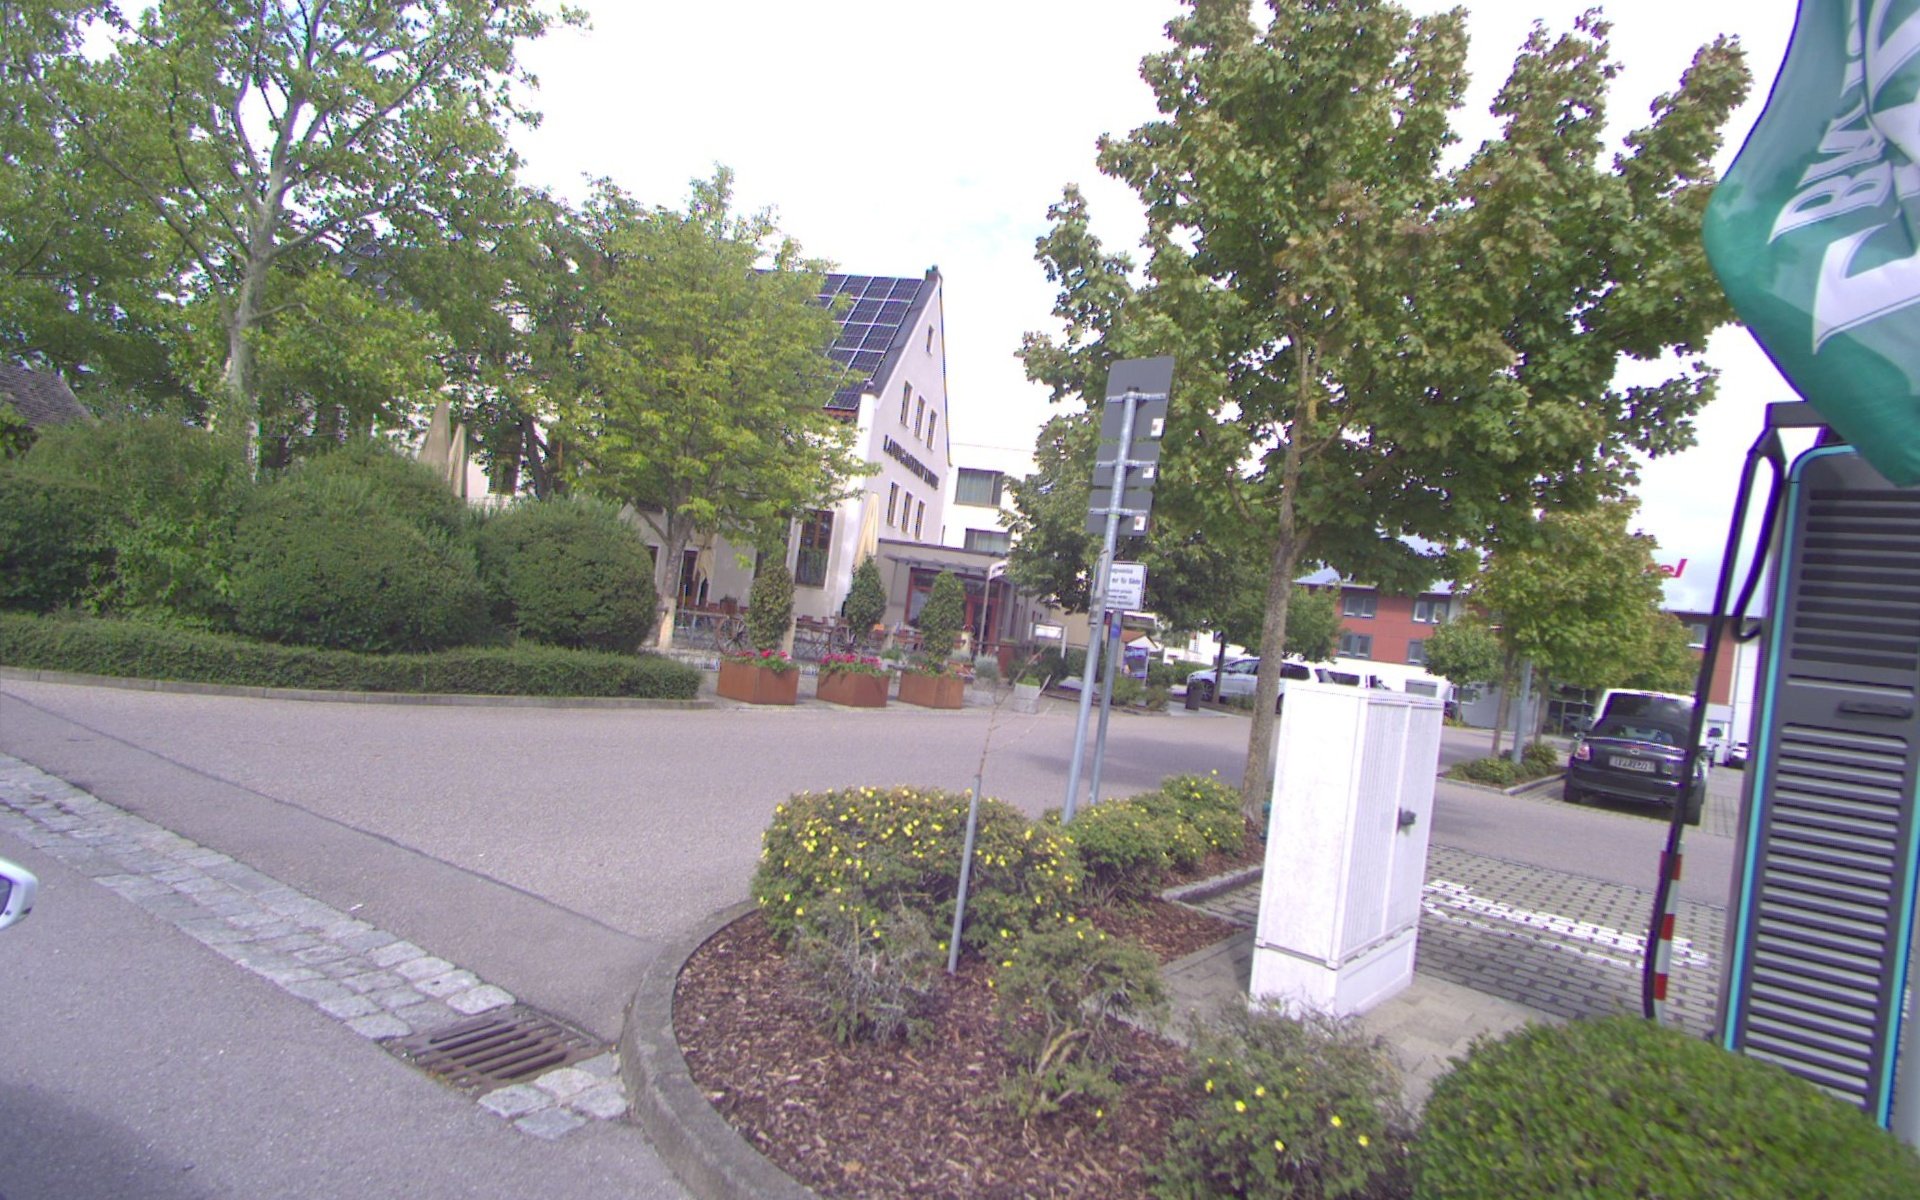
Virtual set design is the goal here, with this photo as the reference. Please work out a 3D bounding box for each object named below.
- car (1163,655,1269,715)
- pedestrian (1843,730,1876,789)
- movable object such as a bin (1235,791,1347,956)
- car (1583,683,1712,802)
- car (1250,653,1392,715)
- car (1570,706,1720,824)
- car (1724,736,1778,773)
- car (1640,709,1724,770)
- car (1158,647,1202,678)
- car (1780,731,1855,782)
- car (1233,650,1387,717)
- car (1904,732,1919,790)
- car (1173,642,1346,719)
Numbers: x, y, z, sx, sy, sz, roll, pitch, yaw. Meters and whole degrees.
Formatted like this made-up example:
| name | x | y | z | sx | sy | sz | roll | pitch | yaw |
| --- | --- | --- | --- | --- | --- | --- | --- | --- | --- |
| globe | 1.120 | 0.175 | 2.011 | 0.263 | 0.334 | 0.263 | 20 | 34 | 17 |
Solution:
| name | x | y | z | sx | sy | sz | roll | pitch | yaw |
| --- | --- | --- | --- | --- | --- | --- | --- | --- | --- |
| car | 11.399 | 3.766 | 44.805 | 3.933 | 2.037 | 1.998 | 7 | -2 | 31 |
| pedestrian | 28.157 | 4.998 | 31.490 | 0.410 | 1.745 | 0.497 | 8 | -1 | -21 |
| movable object such as a bin | 1.620 | 1.319 | 4.925 | 0.363 | 0.692 | 0.287 | 7 | -1 | 41 |
| car | 13.602 | 2.769 | 19.820 | 1.740 | 1.843 | 4.355 | 7 | -2 | 37 |
| car | 14.589 | 3.386 | 40.797 | 5.001 | 1.731 | 1.746 | 7 | -2 | 37 |
| car | 10.608 | 2.484 | 15.521 | 1.605 | 1.366 | 3.364 | 7 | -2 | 37 |
| car | 42.331 | 8.239 | 53.902 | 1.757 | 1.562 | 3.994 | 7 | -2 | 33 |
| car | 22.643 | 4.376 | 31.682 | 1.794 | 1.517 | 3.840 | 7 | -2 | 33 |
| car | 16.395 | 4.629 | 74.830 | 1.689 | 1.850 | 3.602 | 7 | -2 | 38 |
| car | 36.420 | 6.607 | 42.803 | 1.739 | 1.740 | 3.994 | 7 | -2 | 33 |
| car | 12.940 | 3.083 | 37.406 | 5.001 | 1.731 | 1.593 | 7 | -2 | 37 |
| car | 28.319 | 4.705 | 28.282 | 1.739 | 1.674 | 3.994 | 7 | -2 | 33 |
| car | 9.779 | 2.616 | 33.022 | 5.001 | 1.731 | 1.746 | 7 | -2 | 37 |
